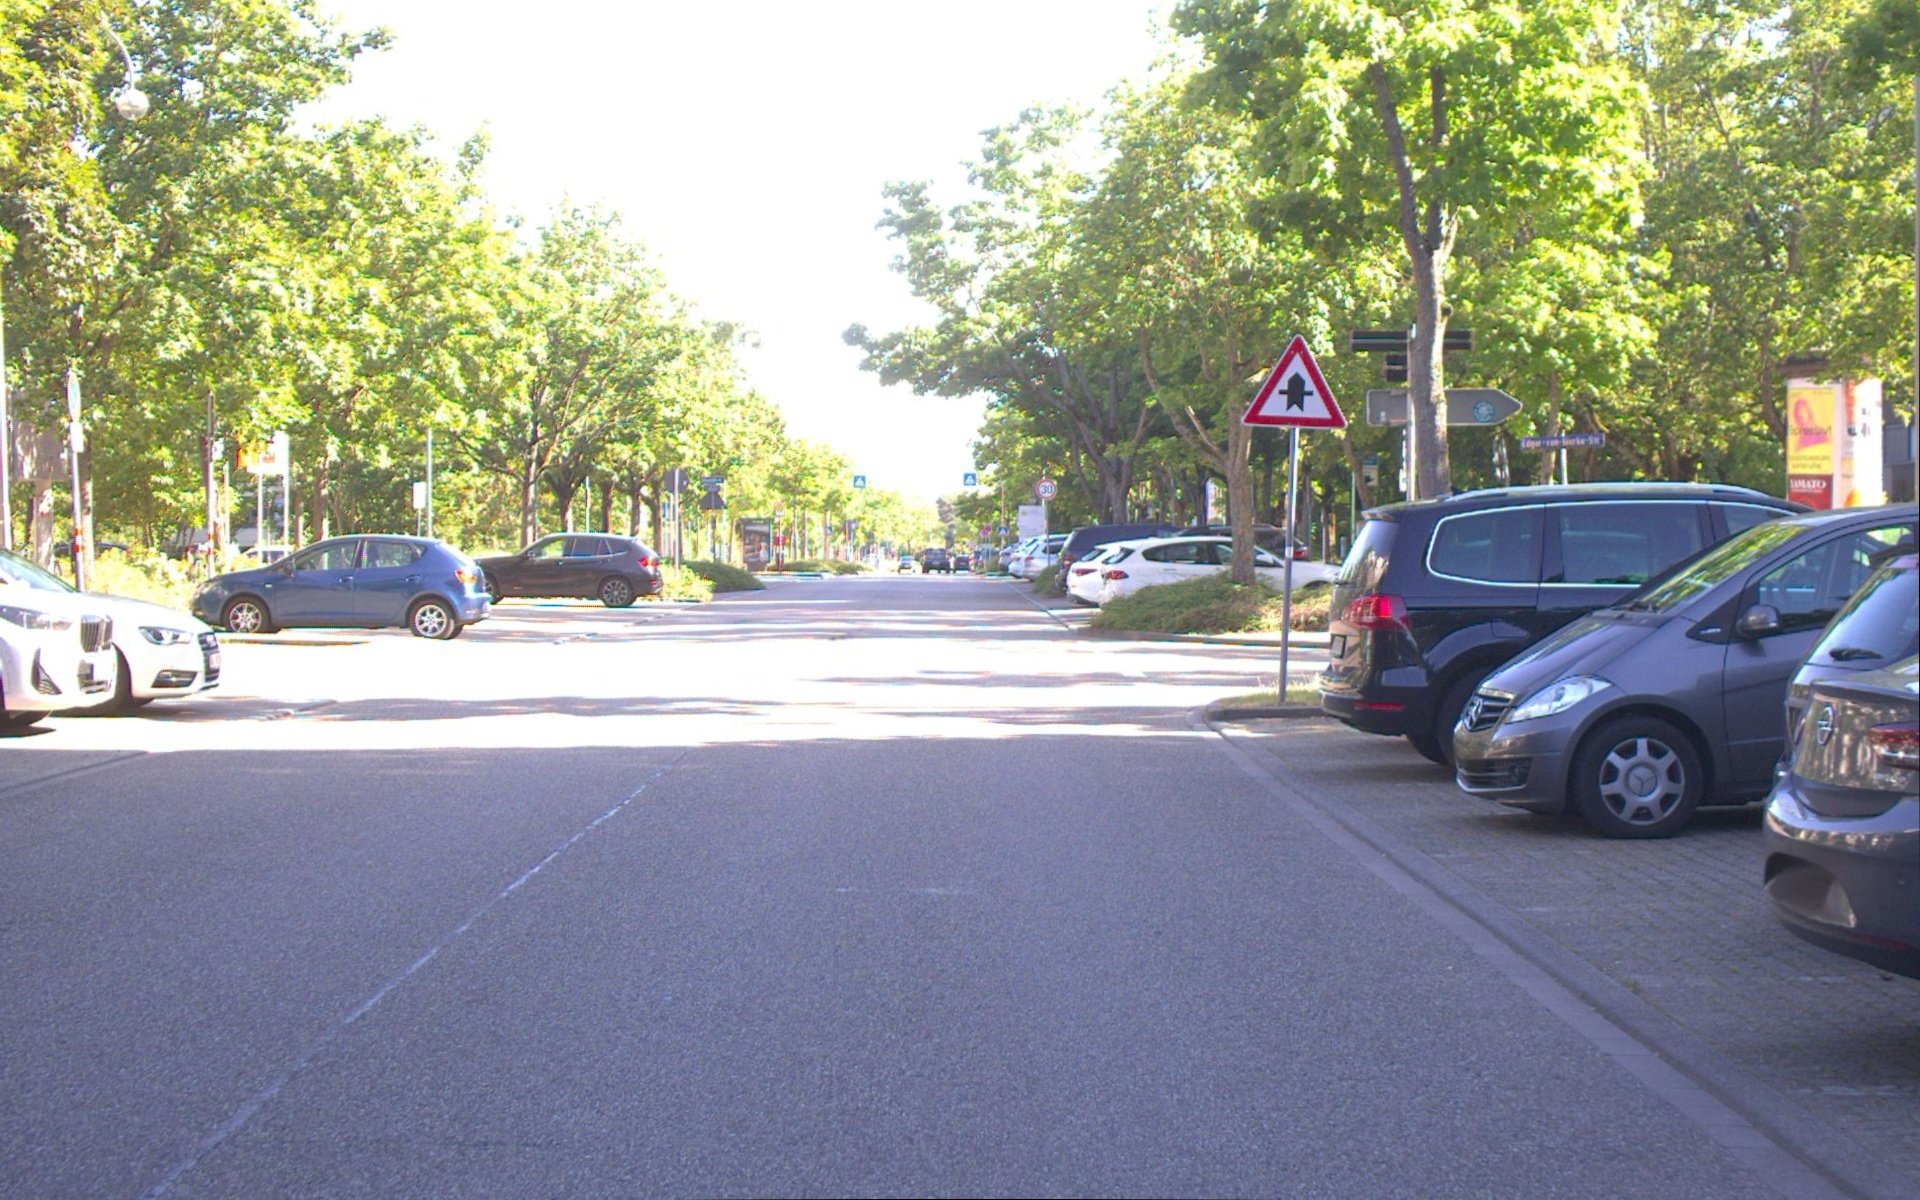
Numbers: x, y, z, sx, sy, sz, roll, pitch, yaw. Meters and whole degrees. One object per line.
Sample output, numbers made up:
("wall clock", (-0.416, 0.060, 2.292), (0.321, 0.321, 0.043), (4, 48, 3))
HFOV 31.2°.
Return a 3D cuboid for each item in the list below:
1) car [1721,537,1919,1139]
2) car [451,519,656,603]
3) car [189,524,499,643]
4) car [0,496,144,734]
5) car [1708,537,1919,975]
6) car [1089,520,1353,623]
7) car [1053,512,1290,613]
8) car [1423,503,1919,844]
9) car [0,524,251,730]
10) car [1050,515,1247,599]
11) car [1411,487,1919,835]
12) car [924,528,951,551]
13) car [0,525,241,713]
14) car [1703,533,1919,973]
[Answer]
("car", (4.311, 0.537, 9.435), (4.043, 1.486, 1.550), (-1, 1, -3))
("car", (-8.421, -0.818, 71.431), (3.987, 1.678, 2.000), (-1, 1, 1))
("car", (-8.344, -0.240, 46.820), (3.986, 1.527, 1.618), (-1, 2, -4))
("car", (-8.150, 0.096, 24.877), (3.987, 1.648, 1.860), (-1, 2, 3))
("car", (4.907, 0.470, 12.375), (4.043, 1.449, 1.520), (-1, 1, -3))
("car", (4.194, -0.475, 55.728), (3.986, 1.619, 2.000), (0, 1, -5))
("car", (3.775, -0.682, 61.820), (3.986, 1.786, 2.000), (0, 1, -5))
("car", (4.499, 0.307, 17.276), (4.043, 1.576, 1.641), (-1, 1, -3))
("car", (-7.876, 0.193, 27.845), (3.892, 1.606, 1.858), (0, 1, -1))
("car", (4.040, -0.939, 74.010), (3.986, 1.786, 2.000), (0, 1, -5))
("car", (4.386, 0.269, 17.354), (3.892, 1.650, 1.858), (0, 1, -3))
("car", (-1.617, -4.342, 246.224), (1.933, 1.592, 4.367), (0, 2, -1))
("car", (-7.980, 0.143, 27.873), (3.986, 1.476, 1.680), (0, 0, -2))
("car", (4.889, 0.444, 12.220), (4.043, 1.416, 1.737), (-1, 1, -4))
